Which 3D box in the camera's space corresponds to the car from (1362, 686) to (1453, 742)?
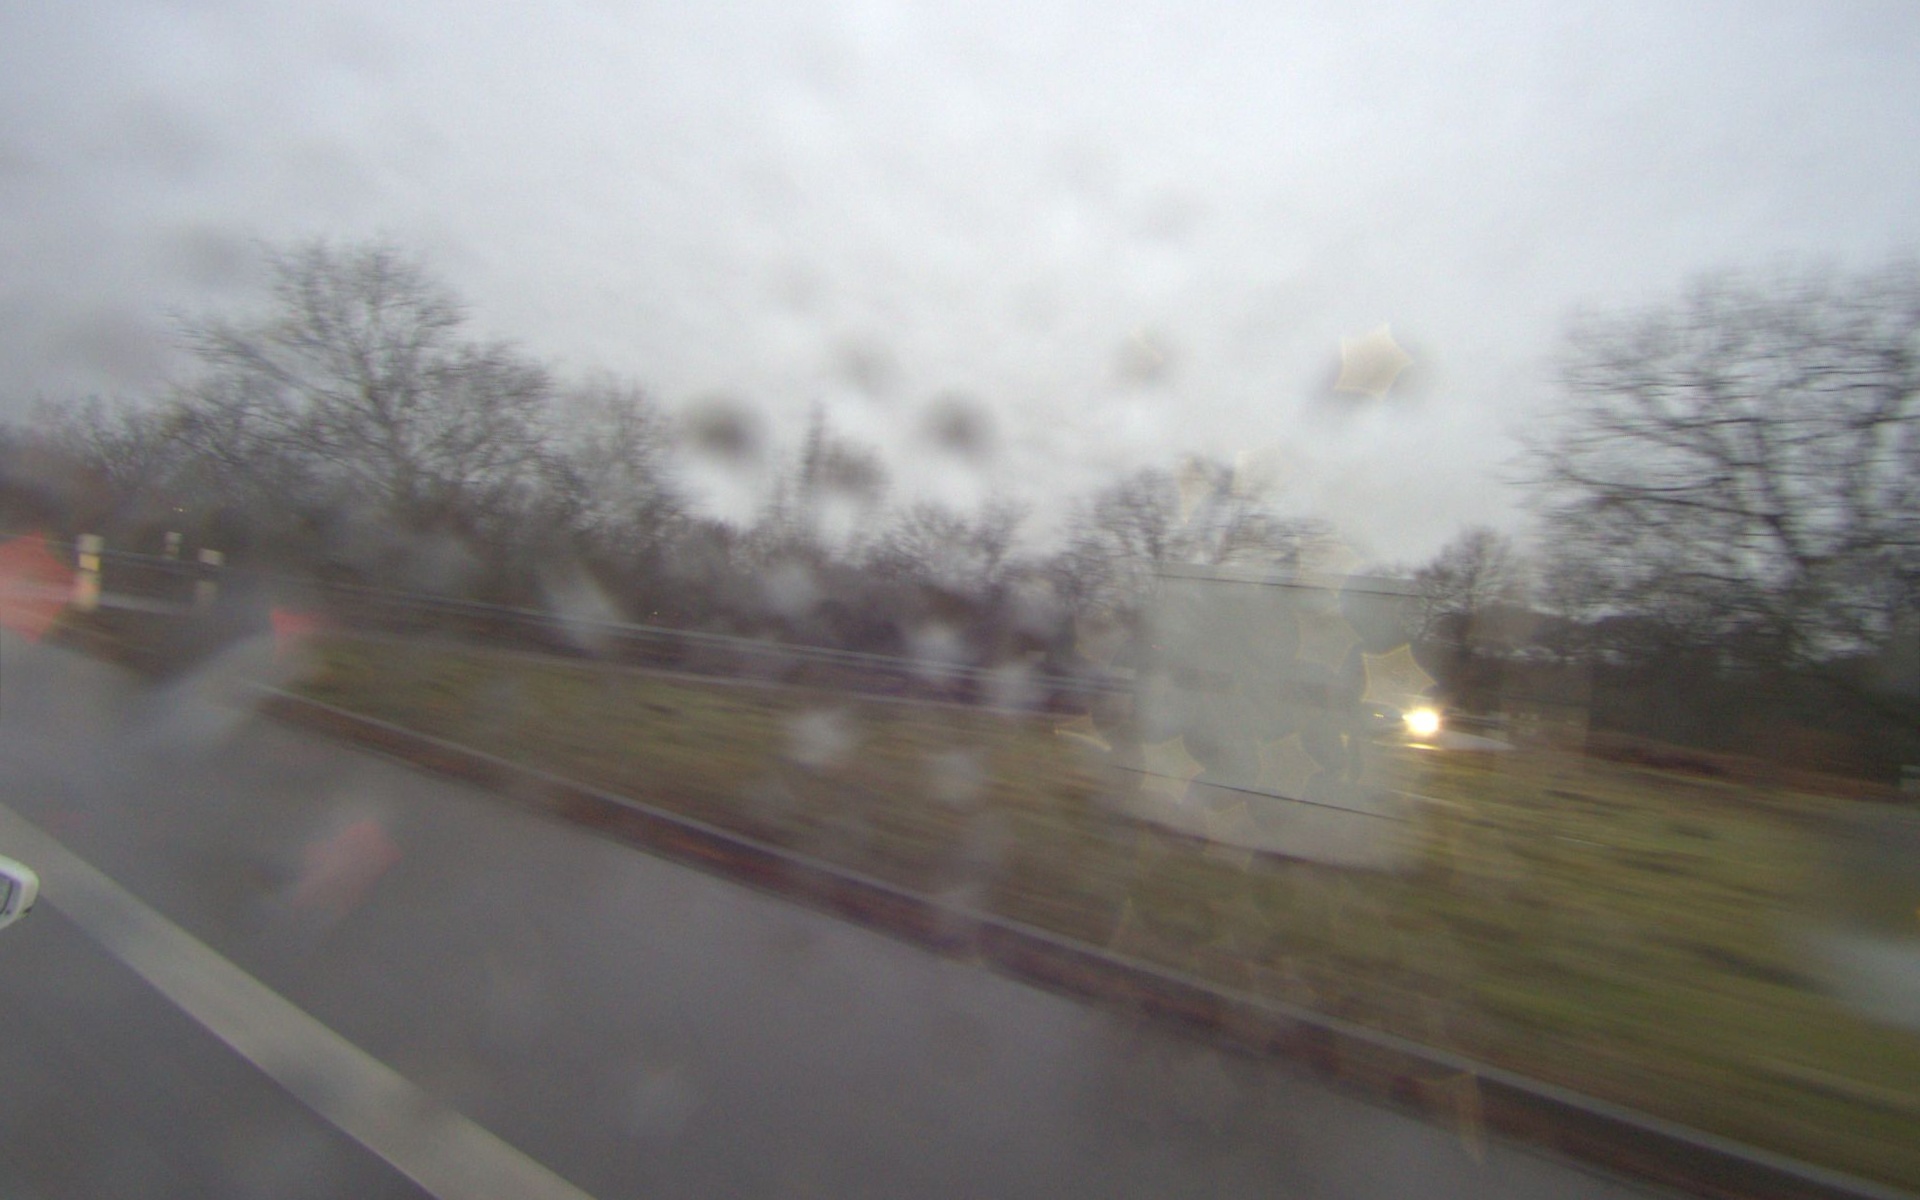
[{"bbox_3d":[14.239,3.579,31.866,1.904,1.374,4.389,7,-2,32],"label":"car"}]
